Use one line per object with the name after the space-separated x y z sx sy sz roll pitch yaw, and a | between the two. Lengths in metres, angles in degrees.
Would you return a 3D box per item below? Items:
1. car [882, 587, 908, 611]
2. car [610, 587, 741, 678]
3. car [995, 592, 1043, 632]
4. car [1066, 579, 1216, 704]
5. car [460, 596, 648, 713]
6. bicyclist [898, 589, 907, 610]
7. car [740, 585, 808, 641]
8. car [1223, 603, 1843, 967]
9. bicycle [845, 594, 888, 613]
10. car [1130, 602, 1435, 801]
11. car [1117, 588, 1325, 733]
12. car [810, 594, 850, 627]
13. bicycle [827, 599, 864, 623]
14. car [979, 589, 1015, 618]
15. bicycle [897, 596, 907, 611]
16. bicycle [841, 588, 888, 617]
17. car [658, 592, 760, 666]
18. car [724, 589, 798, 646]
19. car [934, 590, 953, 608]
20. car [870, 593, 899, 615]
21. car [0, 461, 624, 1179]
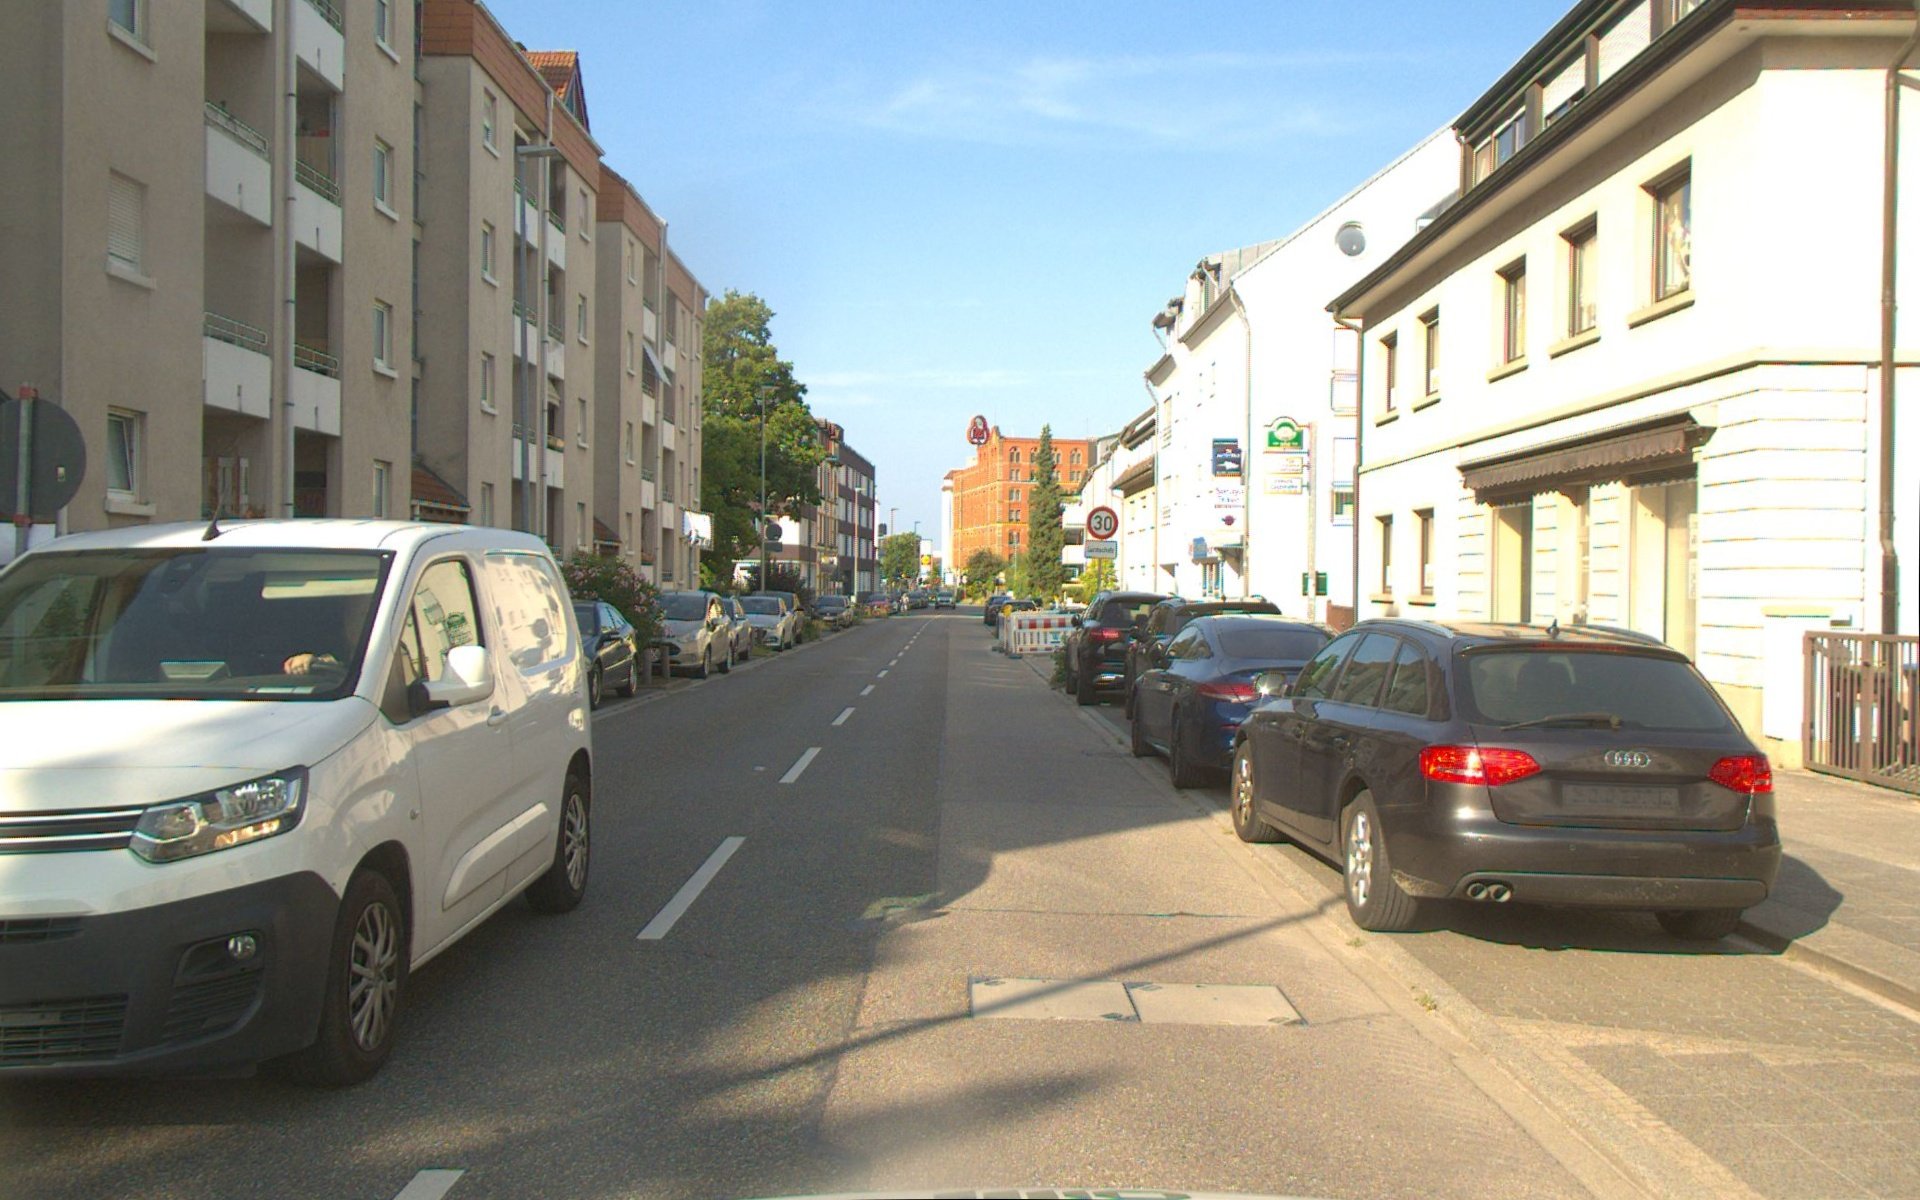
-5.283 -0.071 134.488 1.952 1.941 4.000 0 0 1 | car
-5.339 0.573 31.499 1.691 1.582 3.966 1 0 1 | car
2.286 0.438 64.977 1.792 1.508 3.943 0 0 1 | car
2.668 0.631 25.299 1.792 1.658 4.463 3 -1 1 | car
-5.520 0.680 22.966 1.652 1.430 4.083 1 0 -1 | car
-3.882 -0.036 111.230 0.579 1.467 0.750 0 0 -1 | bicyclist
-5.758 0.389 51.515 1.651 1.631 4.369 1 0 -1 | car
2.709 0.762 9.021 1.743 1.445 4.495 0 0 -1 | car
-6.028 0.229 106.572 2.716 1.164 1.143 0 0 0 | bicycle
2.654 0.761 14.708 1.792 1.445 4.609 0 0 0 | car
3.083 0.660 20.406 1.793 1.587 4.316 0 0 -1 | car
-5.971 0.468 76.115 1.541 1.445 3.803 1 0 -1 | car
-6.091 0.570 87.987 1.962 1.238 0.707 0 0 -6 | bicycle
1.995 0.173 89.247 1.821 1.497 4.000 0 0 -1 | car
-3.876 0.219 111.196 0.596 0.959 1.811 0 0 0 | bicycle
-6.027 0.173 104.799 2.858 1.808 1.202 0 0 0 | bicycle
-5.714 0.620 38.062 1.771 1.547 4.369 1 0 -2 | car
-5.540 0.450 46.419 1.652 1.480 4.140 1 0 -1 | car
-1.511 -0.119 154.321 1.727 1.644 4.000 0 0 0 | car
-5.225 0.266 114.536 1.802 1.489 3.584 1 0 0 | car
-2.670 0.547 6.330 1.883 1.798 4.338 -1 0 0 | car
